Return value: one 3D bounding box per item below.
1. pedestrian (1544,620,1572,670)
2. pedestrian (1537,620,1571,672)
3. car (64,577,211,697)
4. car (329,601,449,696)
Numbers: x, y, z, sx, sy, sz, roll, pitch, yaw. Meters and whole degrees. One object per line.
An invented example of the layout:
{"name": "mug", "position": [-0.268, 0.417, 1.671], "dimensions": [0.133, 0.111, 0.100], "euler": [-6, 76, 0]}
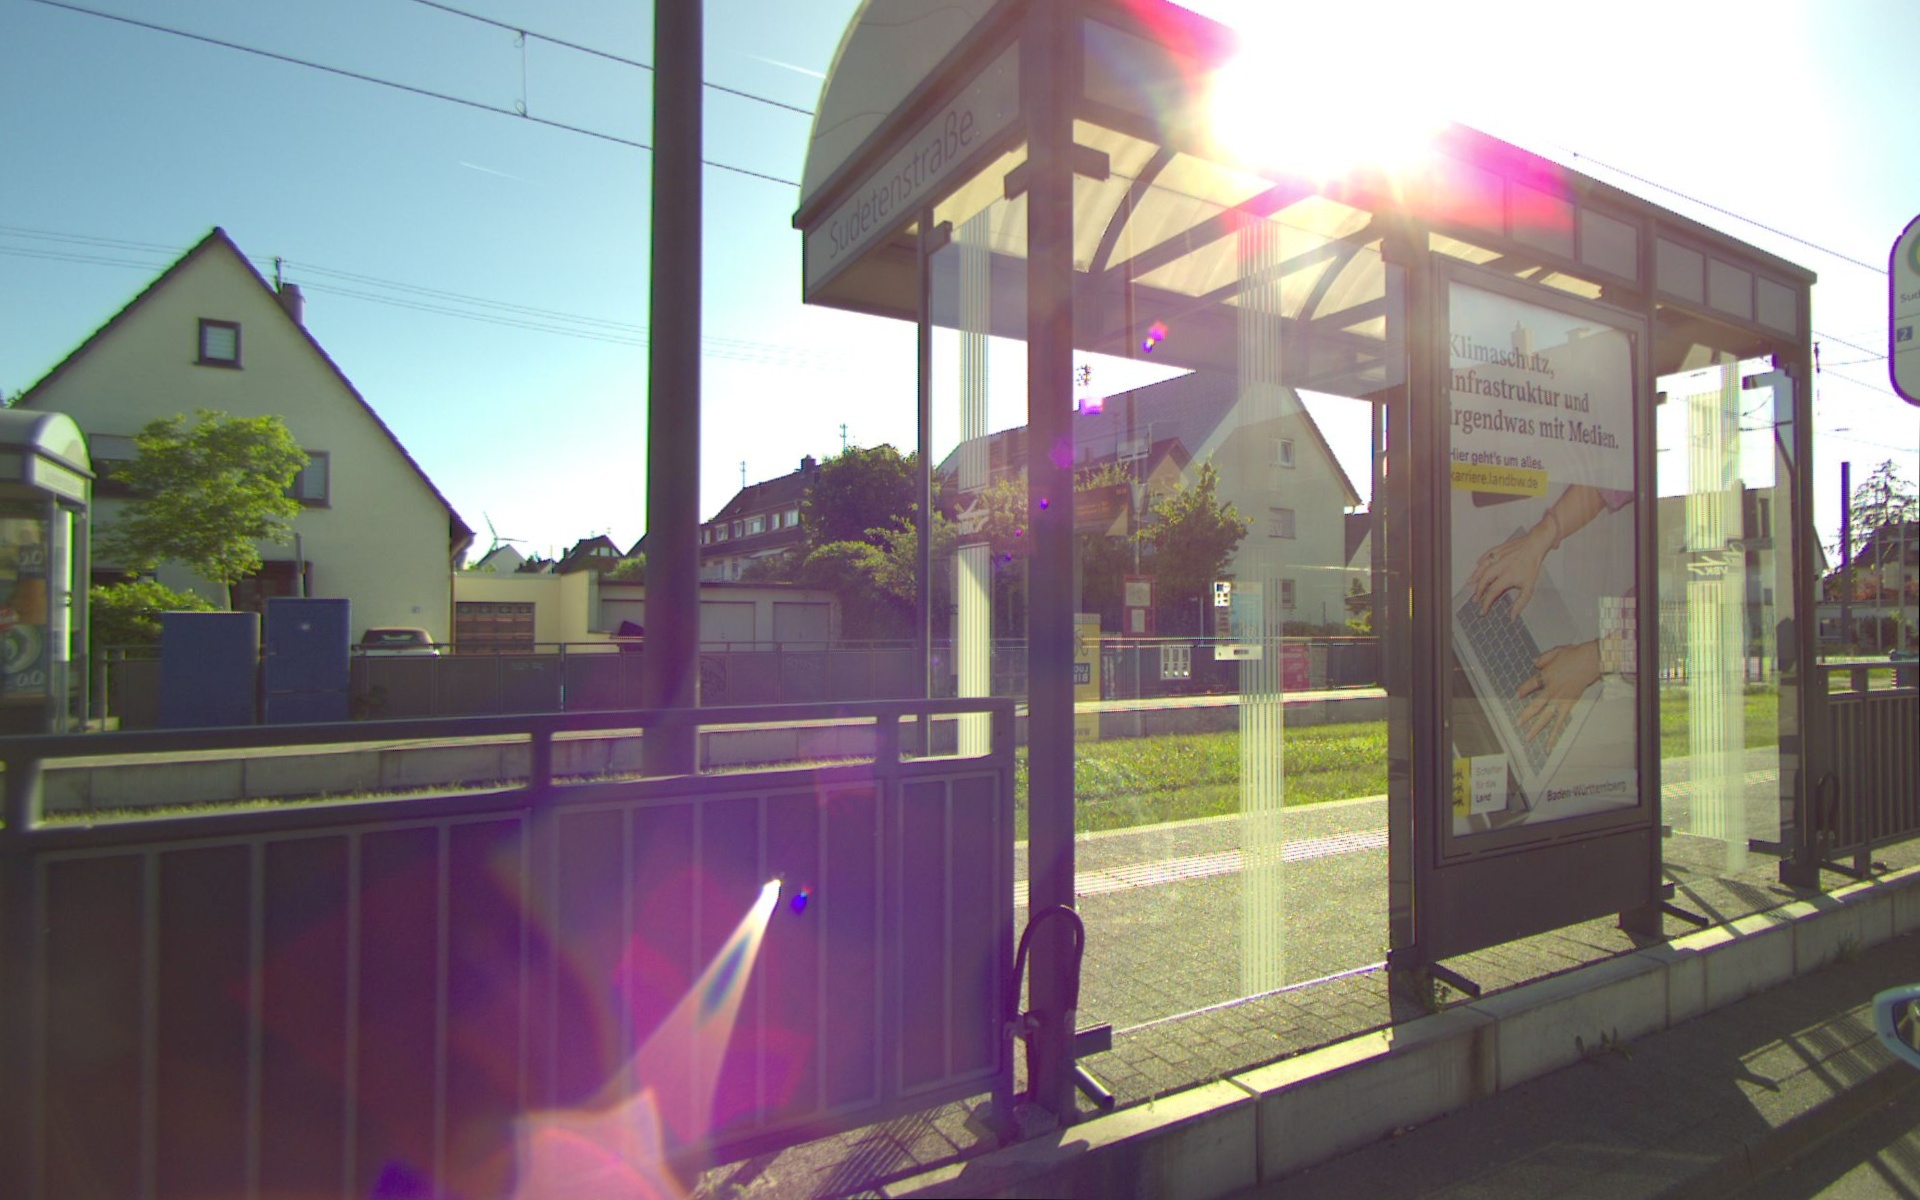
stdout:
{"name": "pedestrian", "position": [21.143, 1.590, 35.497], "dimensions": [0.682, 1.755, 0.590], "euler": [1, -1, -32]}
{"name": "pedestrian", "position": [20.578, 1.576, 34.785], "dimensions": [0.763, 1.785, 0.725], "euler": [1, -1, -32]}
{"name": "car", "position": [-15.333, 0.621, 18.912], "dimensions": [1.915, 1.996, 3.958], "euler": [2, 0, -37]}
{"name": "car", "position": [-12.435, 0.969, 21.769], "dimensions": [1.783, 1.830, 3.816], "euler": [2, 0, -37]}
